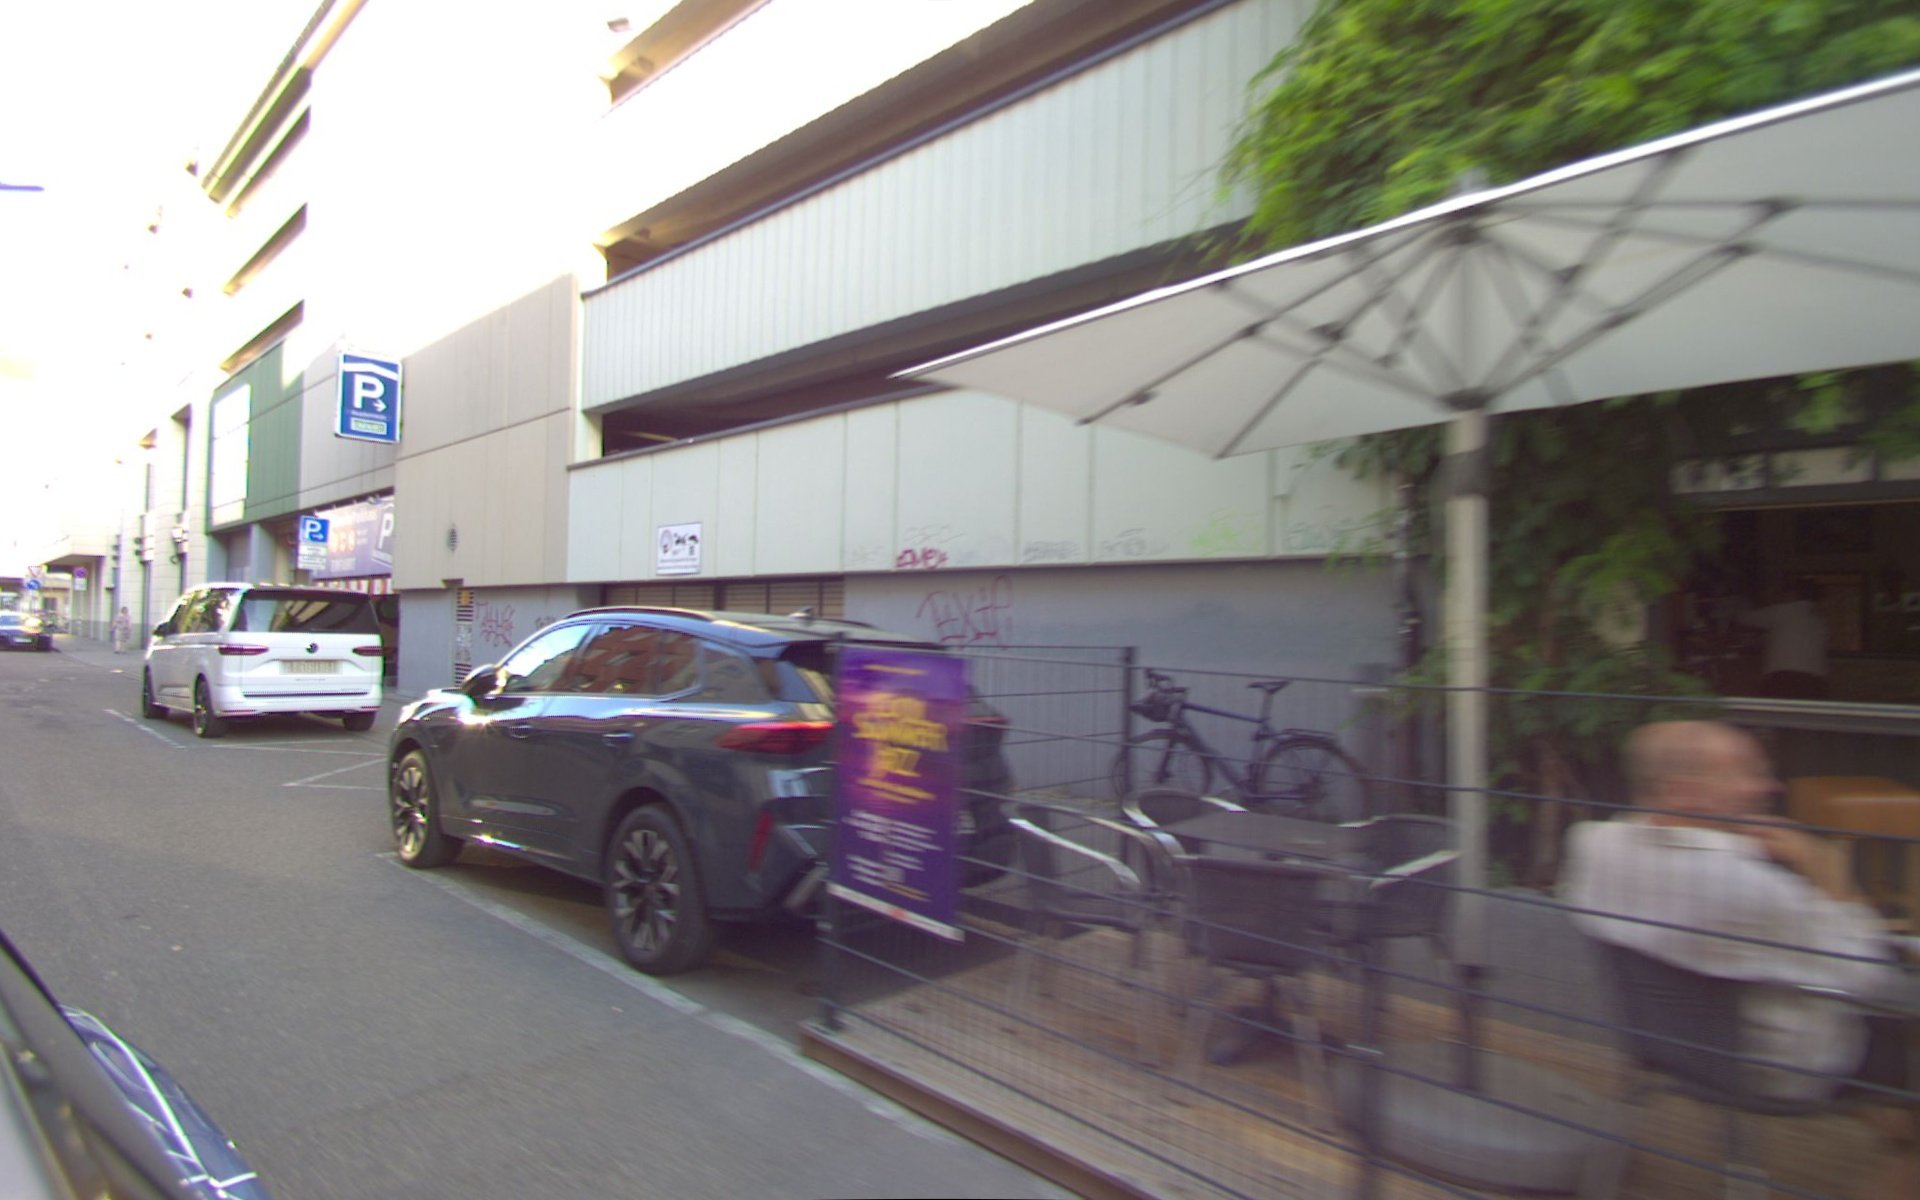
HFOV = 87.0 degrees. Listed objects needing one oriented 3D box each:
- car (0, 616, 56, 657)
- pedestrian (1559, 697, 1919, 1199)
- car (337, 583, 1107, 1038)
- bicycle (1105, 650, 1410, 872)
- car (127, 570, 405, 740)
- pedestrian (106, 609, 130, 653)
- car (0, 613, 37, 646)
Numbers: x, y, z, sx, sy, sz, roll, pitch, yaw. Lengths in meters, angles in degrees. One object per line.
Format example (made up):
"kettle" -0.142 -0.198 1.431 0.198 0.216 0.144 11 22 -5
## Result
"car" -37.291 1.424 40.133 1.970 1.428 4.563 5 -3 -43
"pedestrian" 1.766 0.816 2.084 0.544 1.174 0.743 1 -2 -14
"car" -1.692 0.809 5.840 4.769 1.580 1.861 0 -4 42
"bicycle" 1.850 0.938 6.495 1.795 1.169 0.636 -1 -2 45
"car" -9.746 0.705 14.046 4.849 1.955 1.972 0 -4 42
"pedestrian" -32.048 1.166 38.527 0.565 1.638 0.611 -1 -2 44
"car" -44.407 1.322 46.914 3.626 1.460 1.795 0 -4 39
